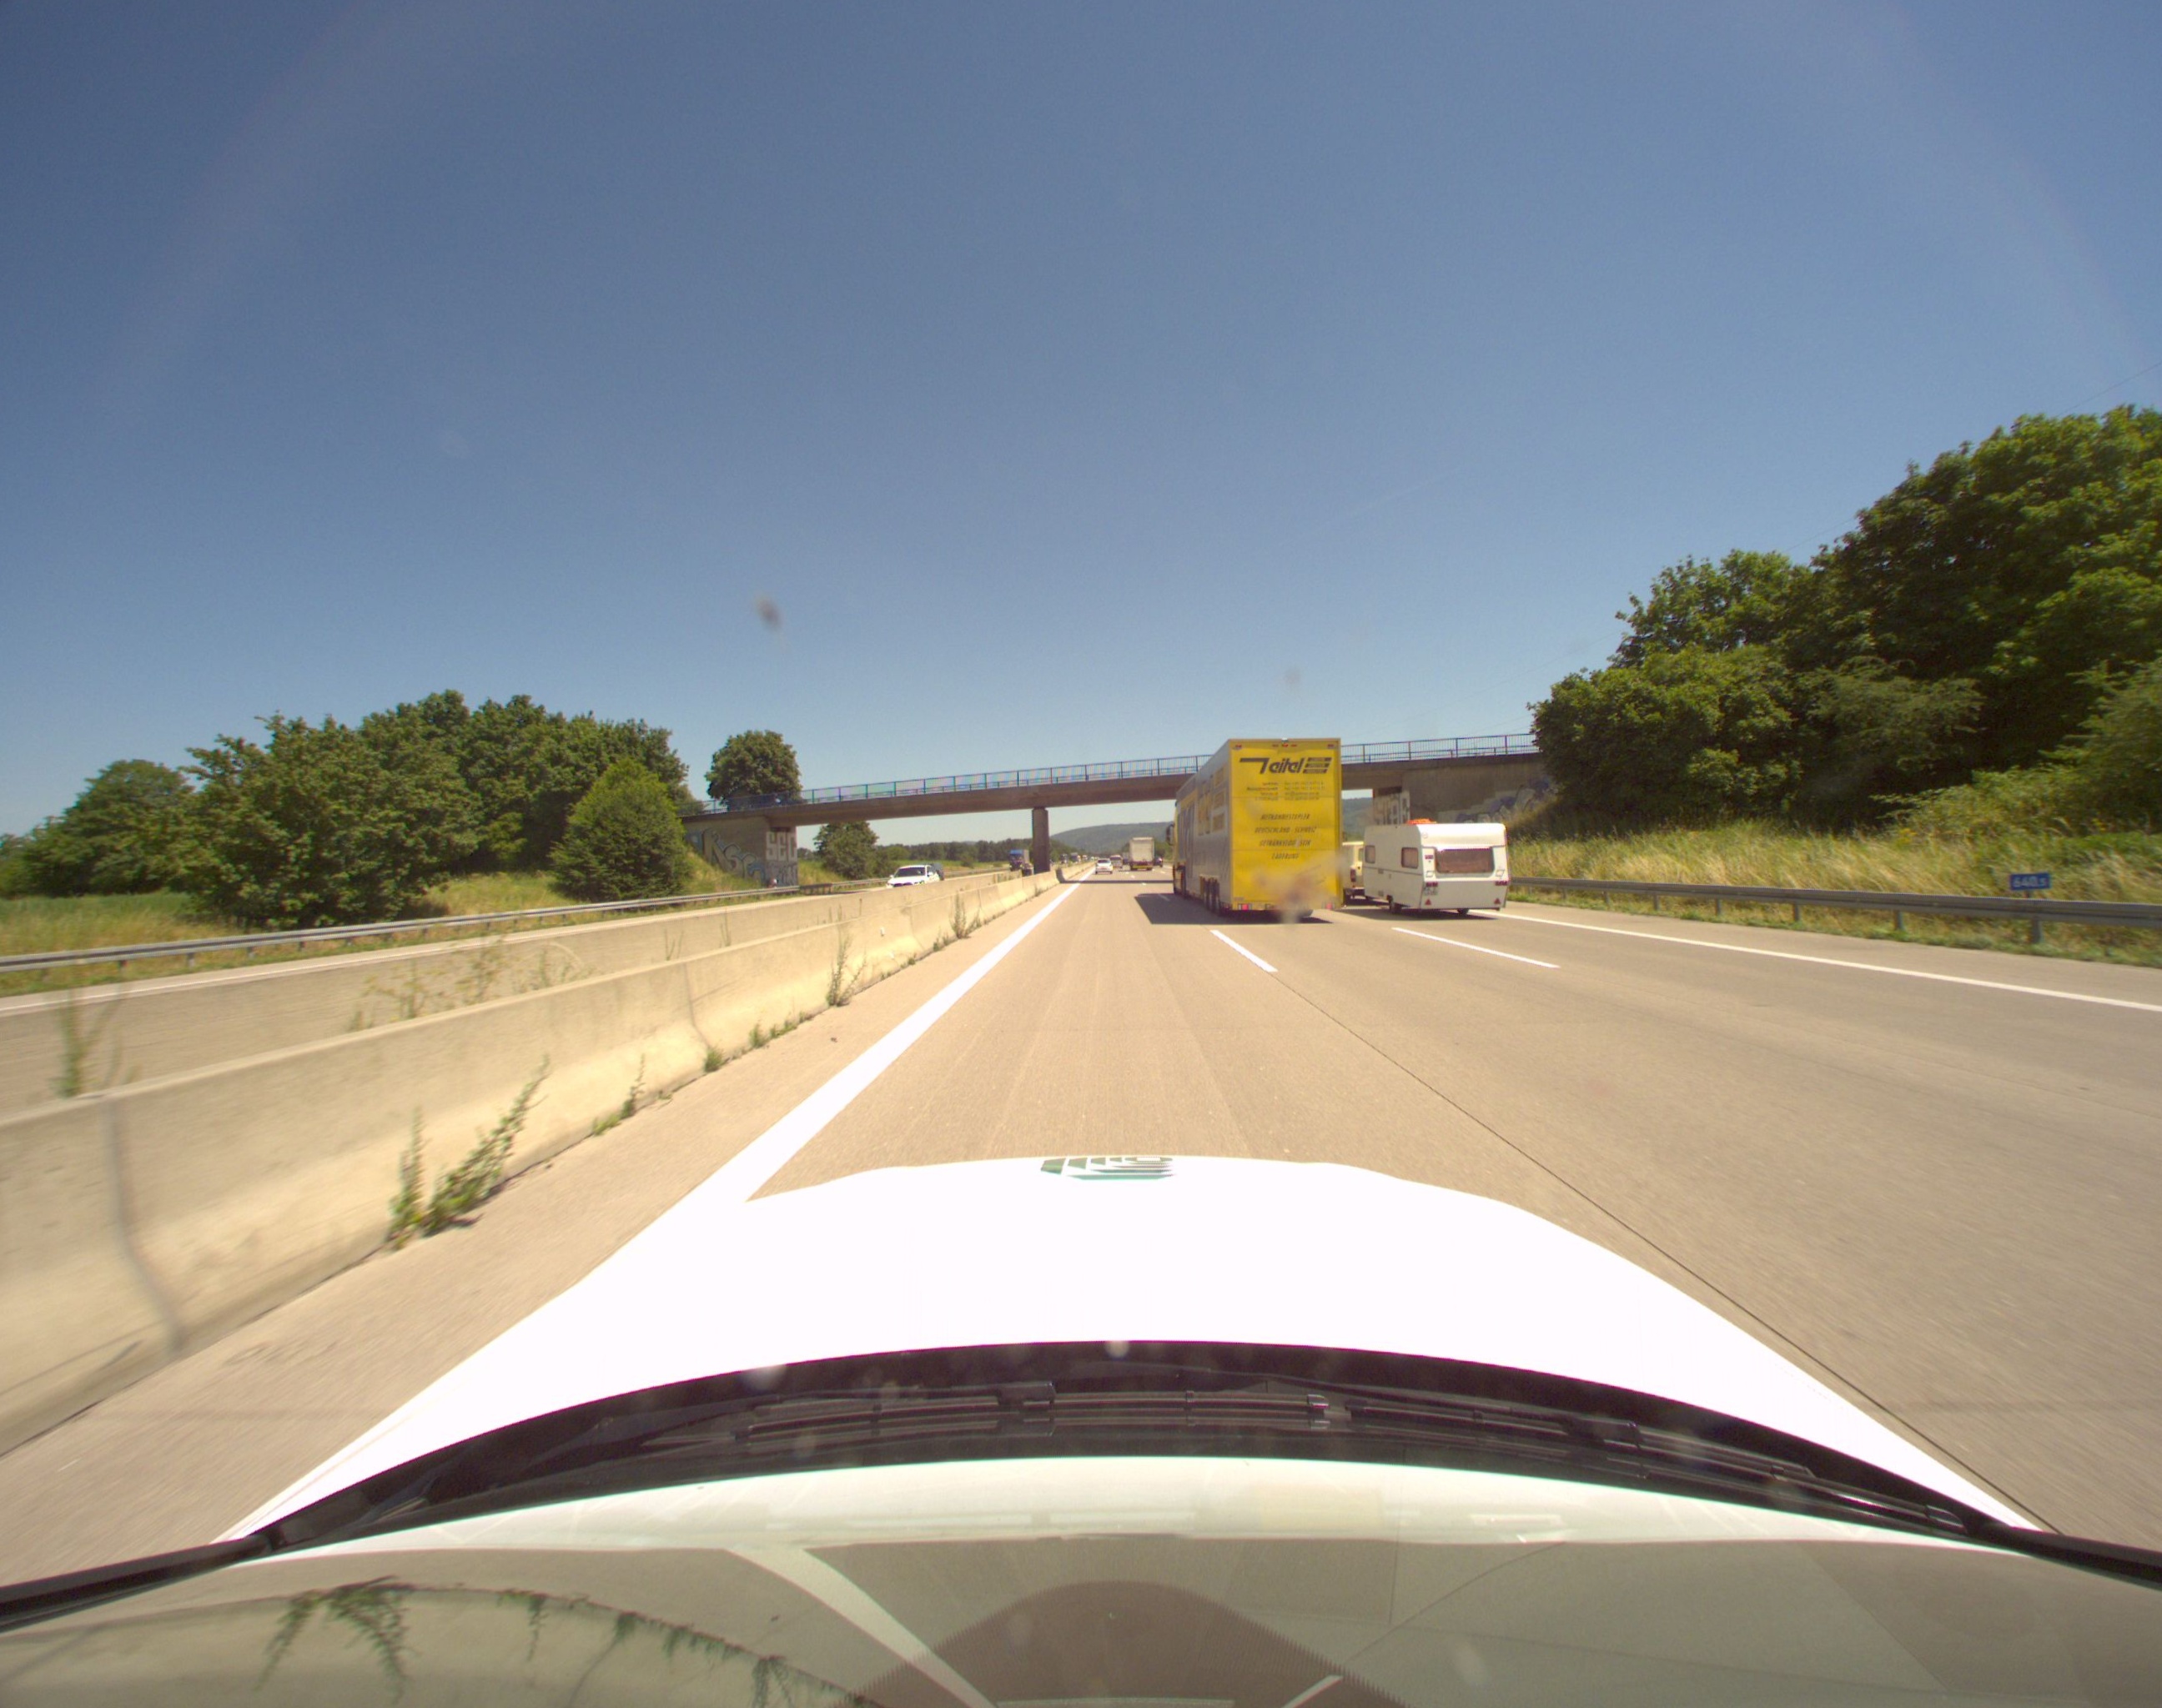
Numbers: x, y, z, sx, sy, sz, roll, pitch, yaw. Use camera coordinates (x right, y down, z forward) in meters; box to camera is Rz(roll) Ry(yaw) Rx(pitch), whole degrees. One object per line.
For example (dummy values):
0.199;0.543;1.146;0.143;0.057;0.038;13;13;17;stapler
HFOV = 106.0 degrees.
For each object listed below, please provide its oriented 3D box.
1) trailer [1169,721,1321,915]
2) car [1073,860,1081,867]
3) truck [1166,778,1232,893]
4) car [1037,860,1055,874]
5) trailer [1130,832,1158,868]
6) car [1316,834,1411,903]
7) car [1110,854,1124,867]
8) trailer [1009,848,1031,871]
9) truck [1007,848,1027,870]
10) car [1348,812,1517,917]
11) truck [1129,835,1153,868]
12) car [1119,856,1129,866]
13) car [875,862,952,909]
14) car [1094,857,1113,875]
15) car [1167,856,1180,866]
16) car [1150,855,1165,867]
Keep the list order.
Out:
4.451;-0.738;25.588;1.986;4.254;15.202;0;0;1;trailer
-1.087;2.731;232.757;1.986;1.862;5.469;0;0;2;car
4.637;-0.654;32.850;1.986;4.254;5.195;0;-1;1;truck
-5.198;1.875;121.172;2.297;2.014;5.657;0;-1;2;car
7.084;-0.386;92.735;2.572;3.878;10.374;0;-1;1;trailer
8.780;0.434;25.654;1.777;2.014;3.821;0;-1;2;car
5.260;0.926;119.586;1.986;1.849;4.001;0;-1;1;car
-11.836;1.083;159.071;2.970;4.090;11.609;-3;-1;2;trailer
-11.995;1.002;153.585;2.970;4.090;6.467;-1;-1;2;truck
8.767;0.260;20.978;2.126;2.347;5.518;0;-1;2;car
7.159;-0.314;97.966;2.572;3.878;4.984;0;-1;1;truck
8.684;1.435;165.238;1.986;1.849;4.001;1;0;1;car
-7.801;1.410;38.627;2.244;2.014;5.980;0;0;1;car
2.179;1.200;80.879;1.813;1.662;4.000;-1;-1;0;car
18.249;1.329;160.828;1.986;1.849;4.001;1;0;1;car
12.059;1.084;128.957;1.986;1.849;4.001;1;0;1;car
